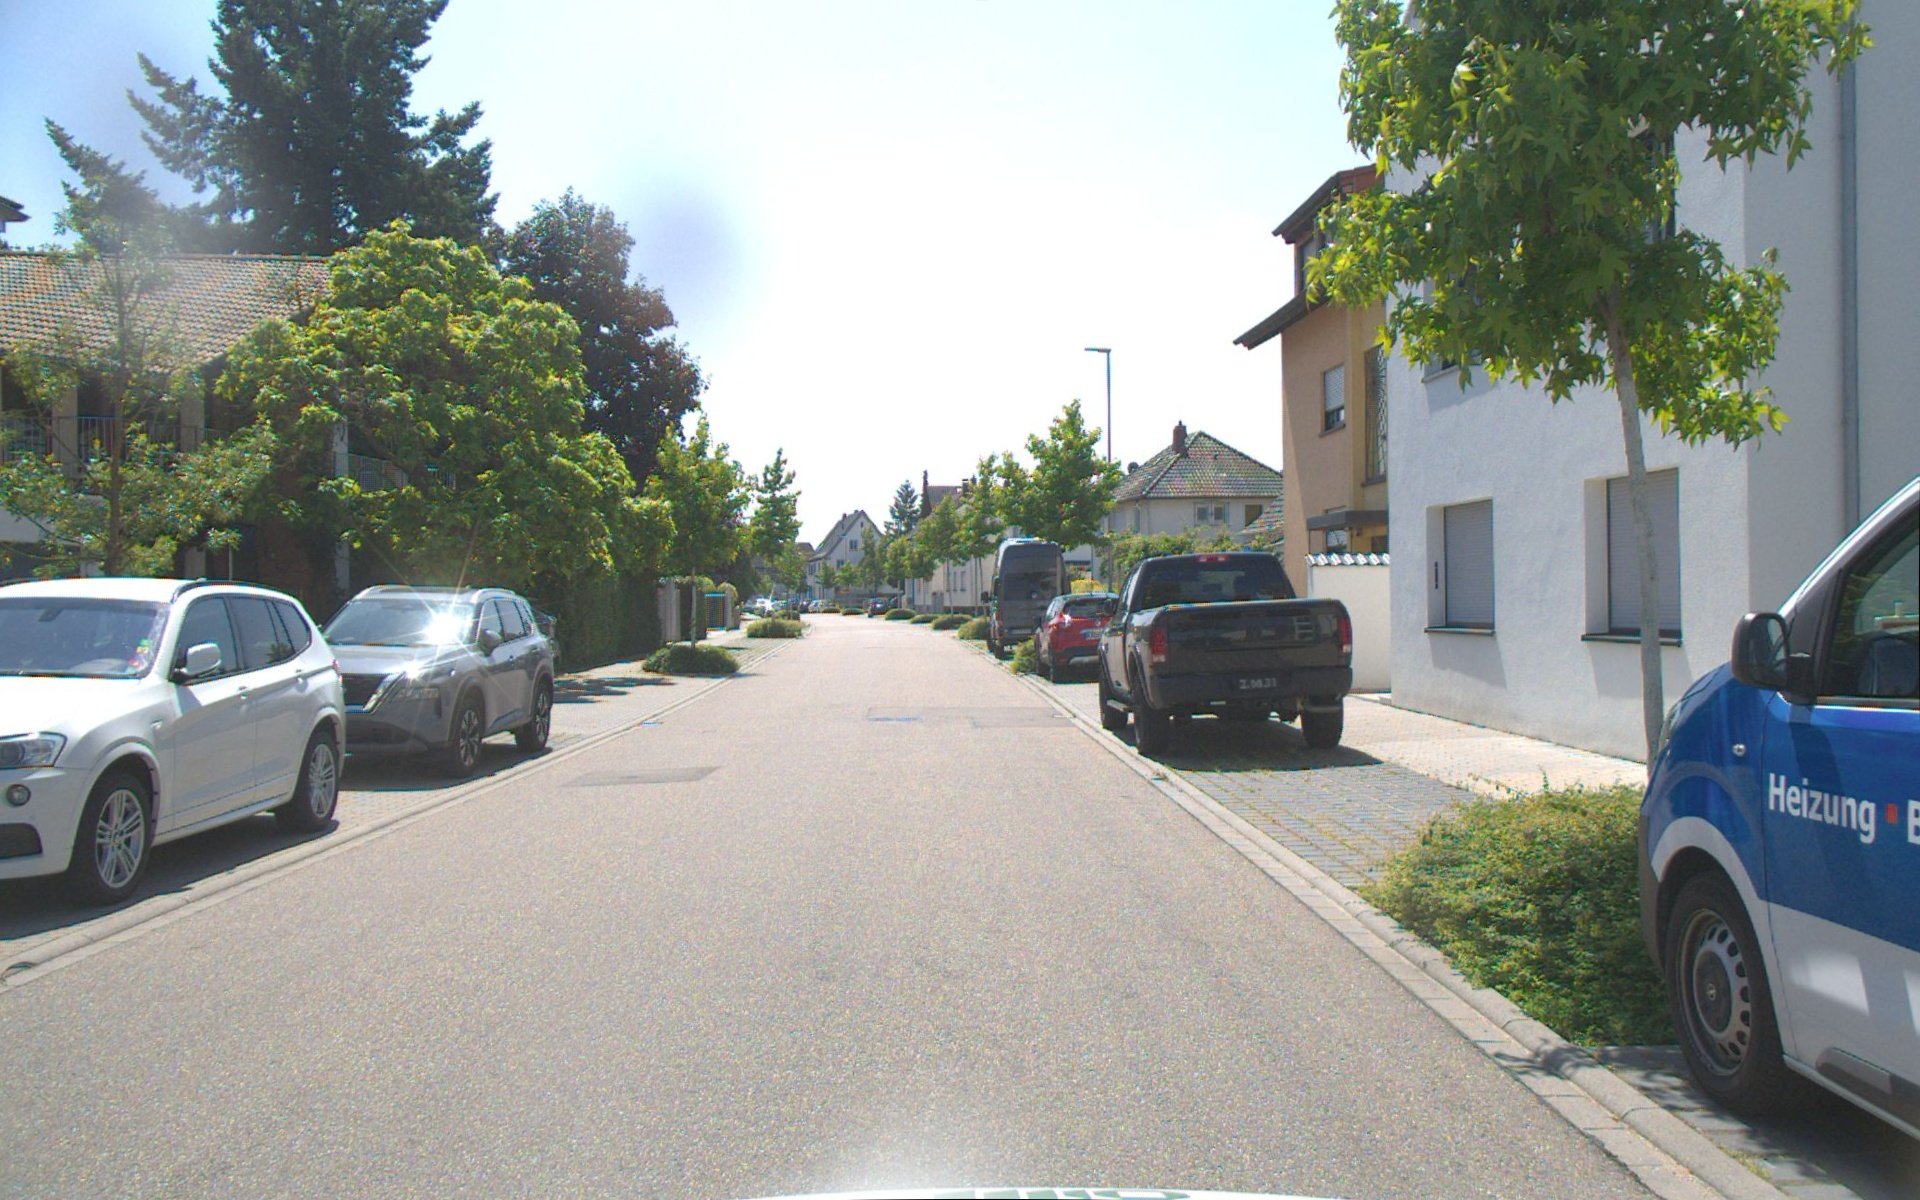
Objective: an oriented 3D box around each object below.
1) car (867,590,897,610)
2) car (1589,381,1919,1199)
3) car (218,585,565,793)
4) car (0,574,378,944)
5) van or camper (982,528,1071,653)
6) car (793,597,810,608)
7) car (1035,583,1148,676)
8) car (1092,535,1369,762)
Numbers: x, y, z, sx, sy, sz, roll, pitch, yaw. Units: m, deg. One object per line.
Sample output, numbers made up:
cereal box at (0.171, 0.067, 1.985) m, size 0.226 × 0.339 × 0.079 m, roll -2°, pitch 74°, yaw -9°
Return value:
car at (-6.481, -0.002, 136.500) m, size 1.957 × 1.601 × 3.990 m, roll -2°, pitch 0°, yaw -10°
car at (3.227, 0.437, 3.281) m, size 2.056 × 1.914 × 4.842 m, roll -2°, pitch 0°, yaw 0°
car at (-5.324, 0.734, 16.138) m, size 1.953 × 1.709 × 4.213 m, roll -1°, pitch 1°, yaw -1°
car at (-5.214, 0.741, 9.924) m, size 1.888 × 1.716 × 4.497 m, roll -1°, pitch 1°, yaw -1°
van or camper at (1.669, -0.249, 42.549) m, size 1.953 × 2.992 × 3.999 m, roll -2°, pitch 0°, yaw -2°
car at (-18.865, 0.256, 196.580) m, size 1.634 × 1.272 × 3.920 m, roll -2°, pitch 0°, yaw -12°
car at (2.454, 0.515, 31.644) m, size 1.637 × 1.623 × 3.553 m, roll -2°, pitch 0°, yaw -4°
car at (2.677, 0.417, 17.712) m, size 1.953 × 1.981 × 5.213 m, roll -2°, pitch 1°, yaw -1°
